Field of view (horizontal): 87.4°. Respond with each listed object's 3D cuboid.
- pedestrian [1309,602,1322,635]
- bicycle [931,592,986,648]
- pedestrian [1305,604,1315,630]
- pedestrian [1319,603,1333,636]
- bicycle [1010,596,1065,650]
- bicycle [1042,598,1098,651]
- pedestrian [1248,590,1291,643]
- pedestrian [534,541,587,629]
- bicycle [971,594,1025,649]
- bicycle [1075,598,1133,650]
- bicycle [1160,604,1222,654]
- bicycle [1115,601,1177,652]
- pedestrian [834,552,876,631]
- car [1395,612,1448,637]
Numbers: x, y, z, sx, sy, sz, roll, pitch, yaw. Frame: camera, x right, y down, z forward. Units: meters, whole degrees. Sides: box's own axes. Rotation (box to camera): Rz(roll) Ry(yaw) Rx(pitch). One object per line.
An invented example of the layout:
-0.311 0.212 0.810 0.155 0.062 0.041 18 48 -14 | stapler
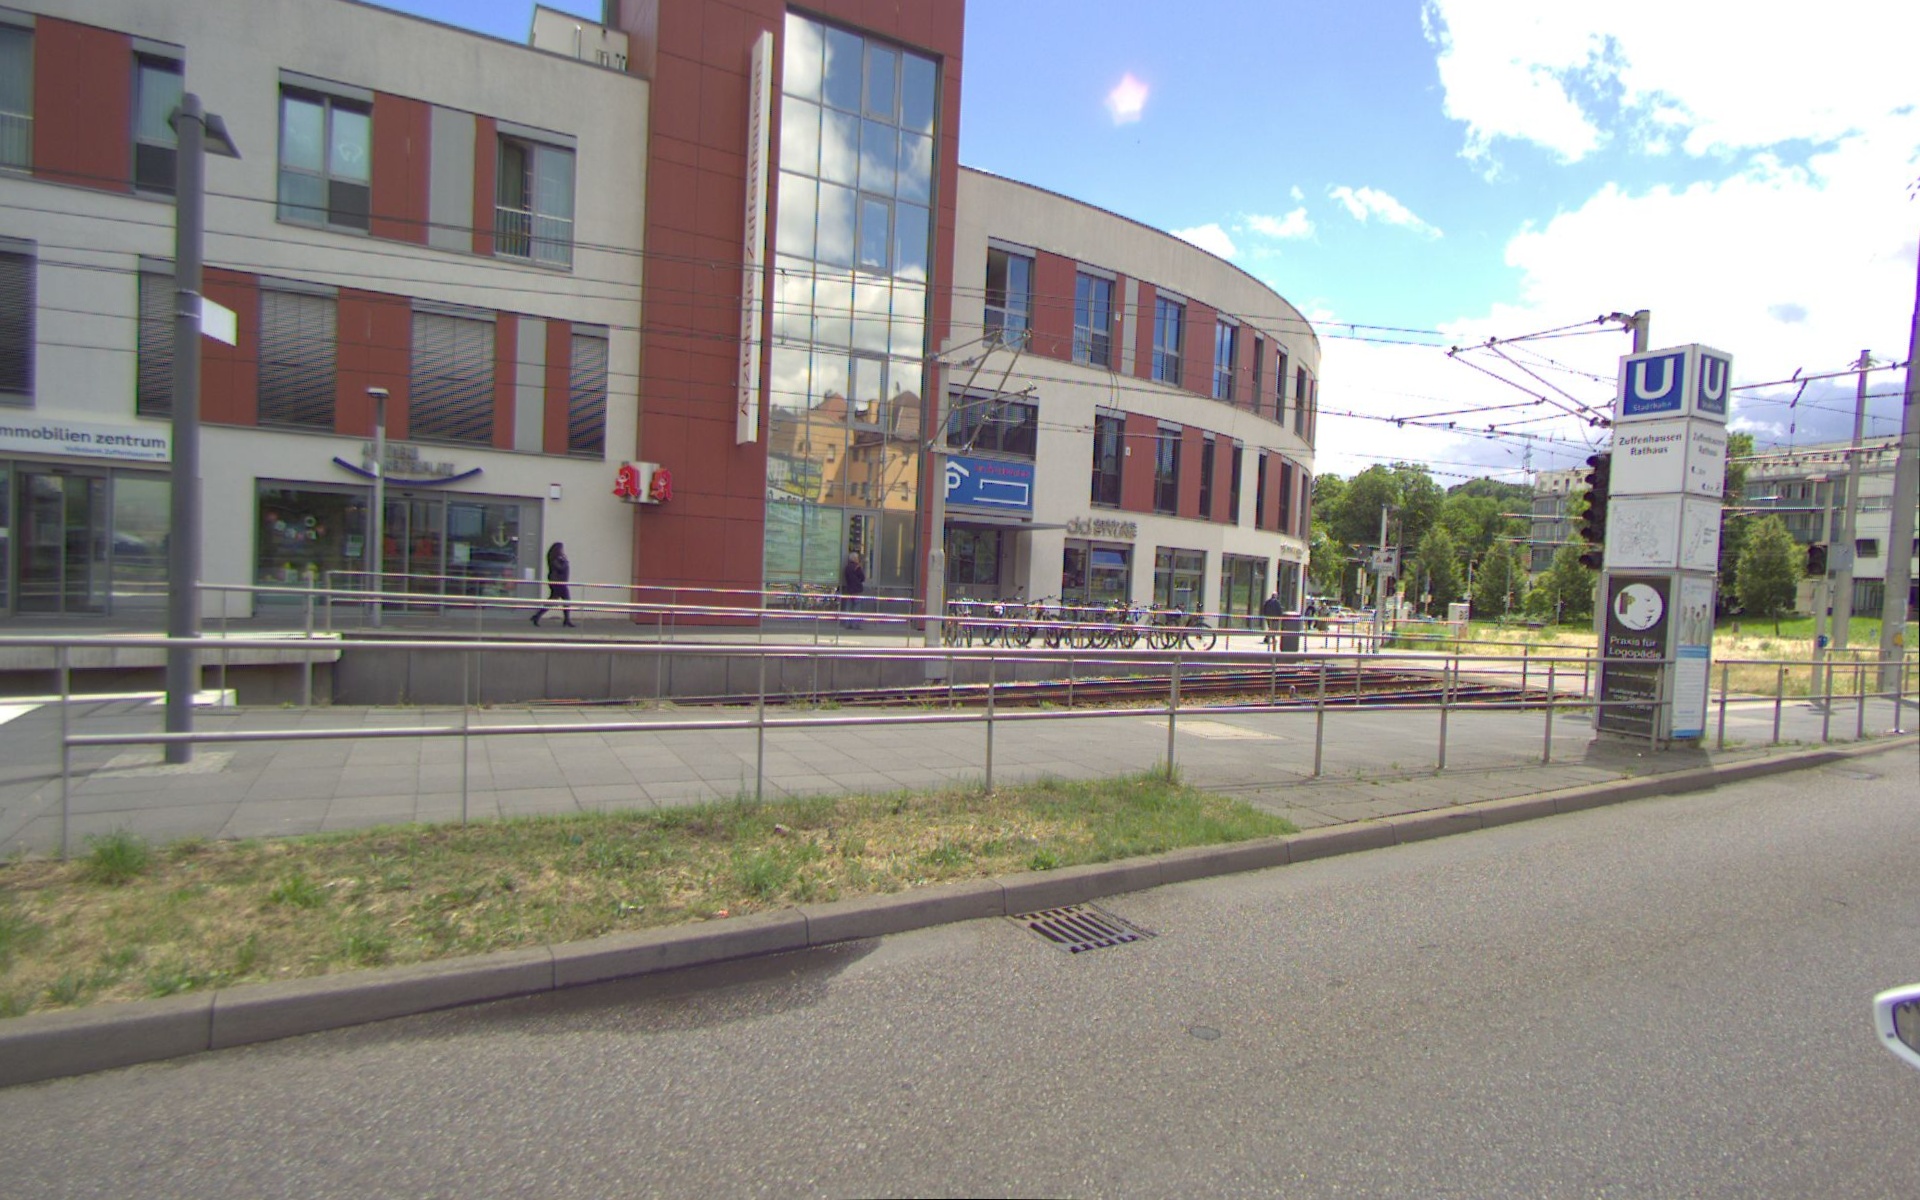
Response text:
17.403 0.888 49.149 0.459 1.551 0.458 5 2 15 | pedestrian
-0.043 0.410 21.045 0.403 1.115 1.559 3 -1 -29 | bicycle
21.976 1.064 63.018 0.459 1.551 0.406 5 2 17 | pedestrian
17.867 0.931 49.017 0.459 1.551 0.406 5 2 15 | pedestrian
1.685 0.492 22.084 0.403 1.115 1.501 3 -1 -29 | bicycle
2.434 0.523 22.386 0.403 1.115 1.501 3 -1 -29 | bicycle
9.719 0.518 31.537 0.855 1.592 0.843 2 3 -44 | pedestrian
-8.033 -0.302 20.190 0.832 1.671 0.653 3 3 -28 | pedestrian
0.805 0.445 21.603 0.403 1.115 1.501 3 -1 -29 | bicycle
3.299 0.542 23.129 0.487 1.115 1.501 3 -1 -29 | bicycle
5.565 0.688 24.315 0.509 1.115 1.559 3 -1 -29 | bicycle
4.326 0.601 23.427 0.509 1.115 1.559 3 -1 -29 | bicycle
-2.622 -0.216 24.999 0.730 1.876 0.654 3 3 -27 | pedestrian
42.244 2.197 91.955 1.969 1.791 4.199 4 2 -18 | car
